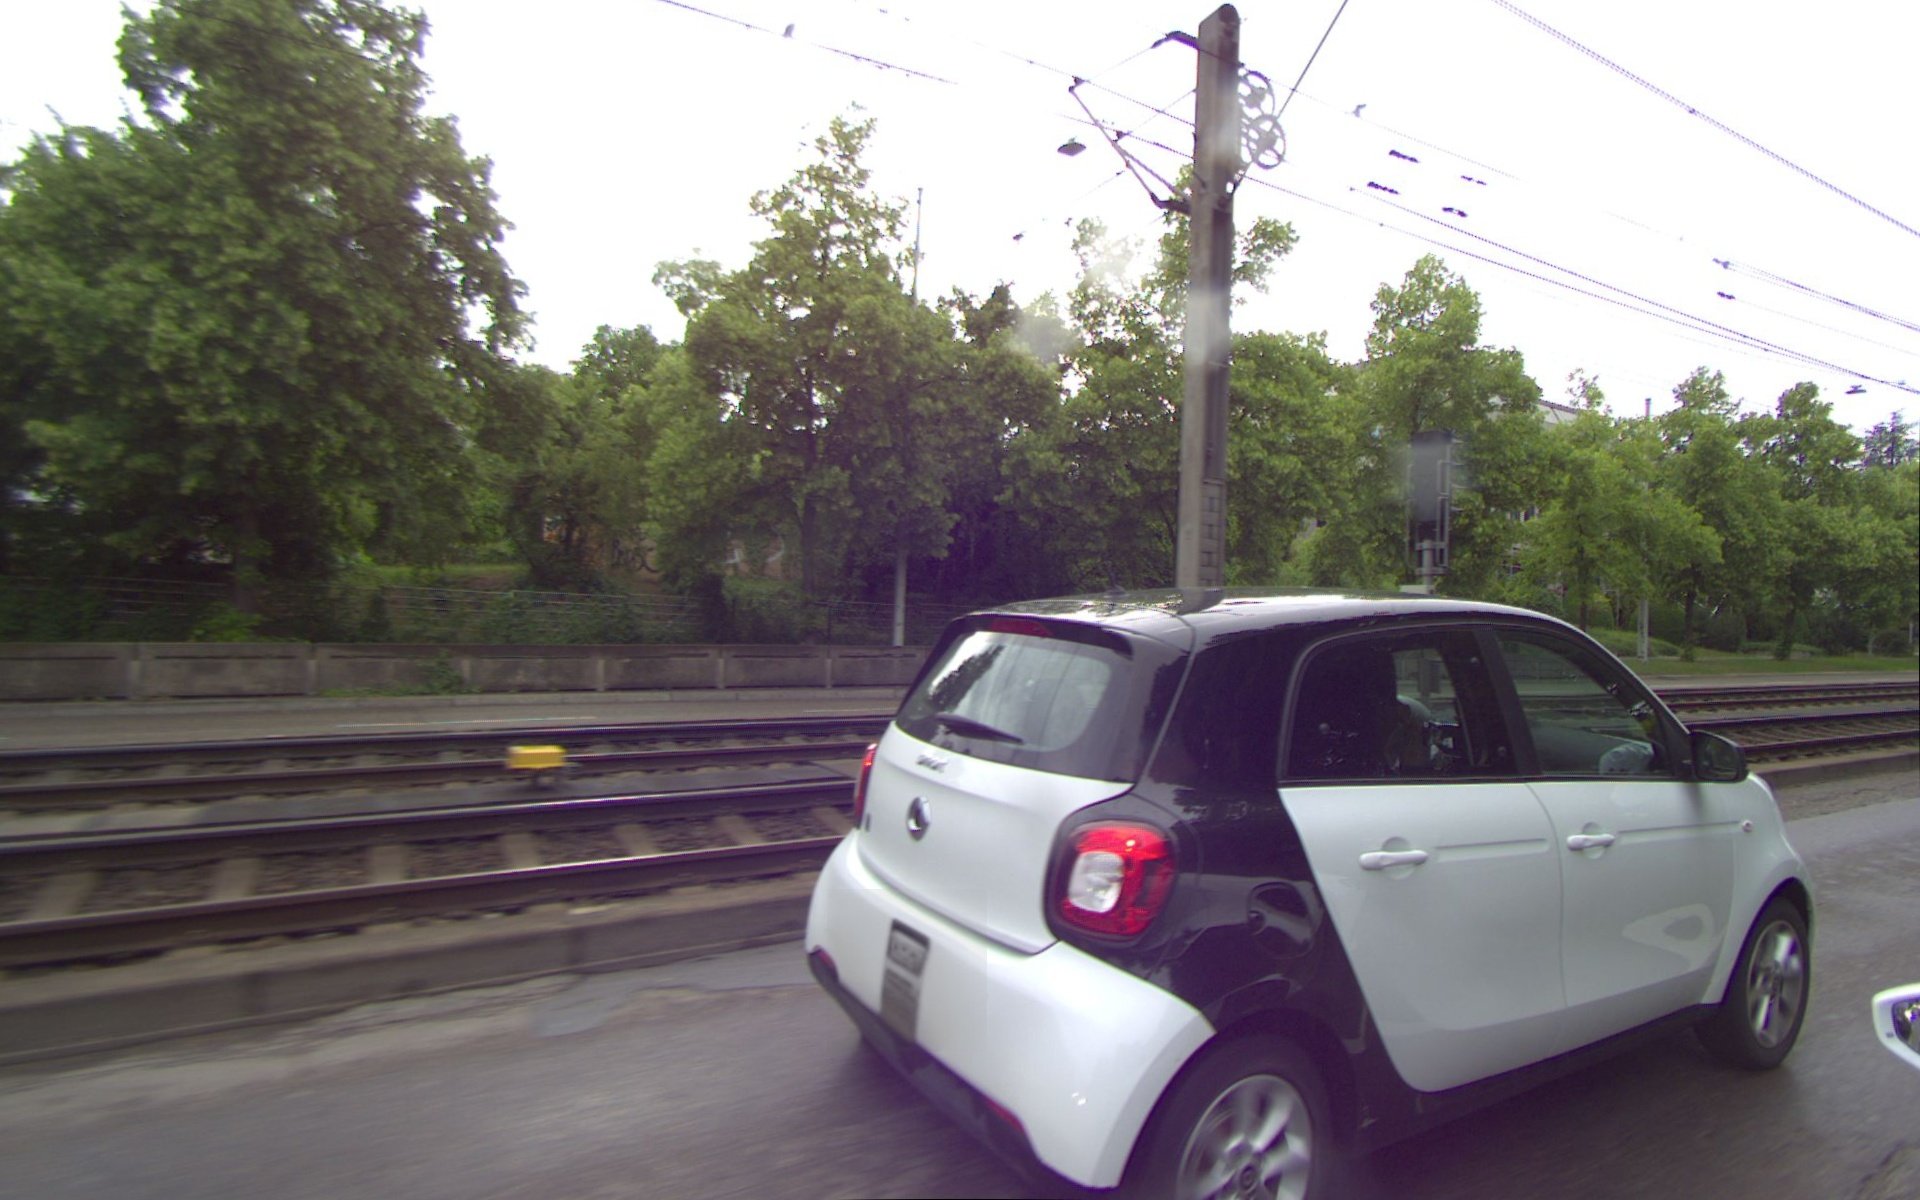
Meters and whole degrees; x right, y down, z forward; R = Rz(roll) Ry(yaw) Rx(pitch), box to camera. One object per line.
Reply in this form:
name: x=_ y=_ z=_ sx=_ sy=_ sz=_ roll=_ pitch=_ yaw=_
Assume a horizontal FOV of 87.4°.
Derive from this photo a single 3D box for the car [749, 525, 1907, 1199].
car: x=1.336 y=0.699 z=3.373 sx=3.676 sy=1.551 sz=1.669 roll=2 pitch=-1 yaw=-29
